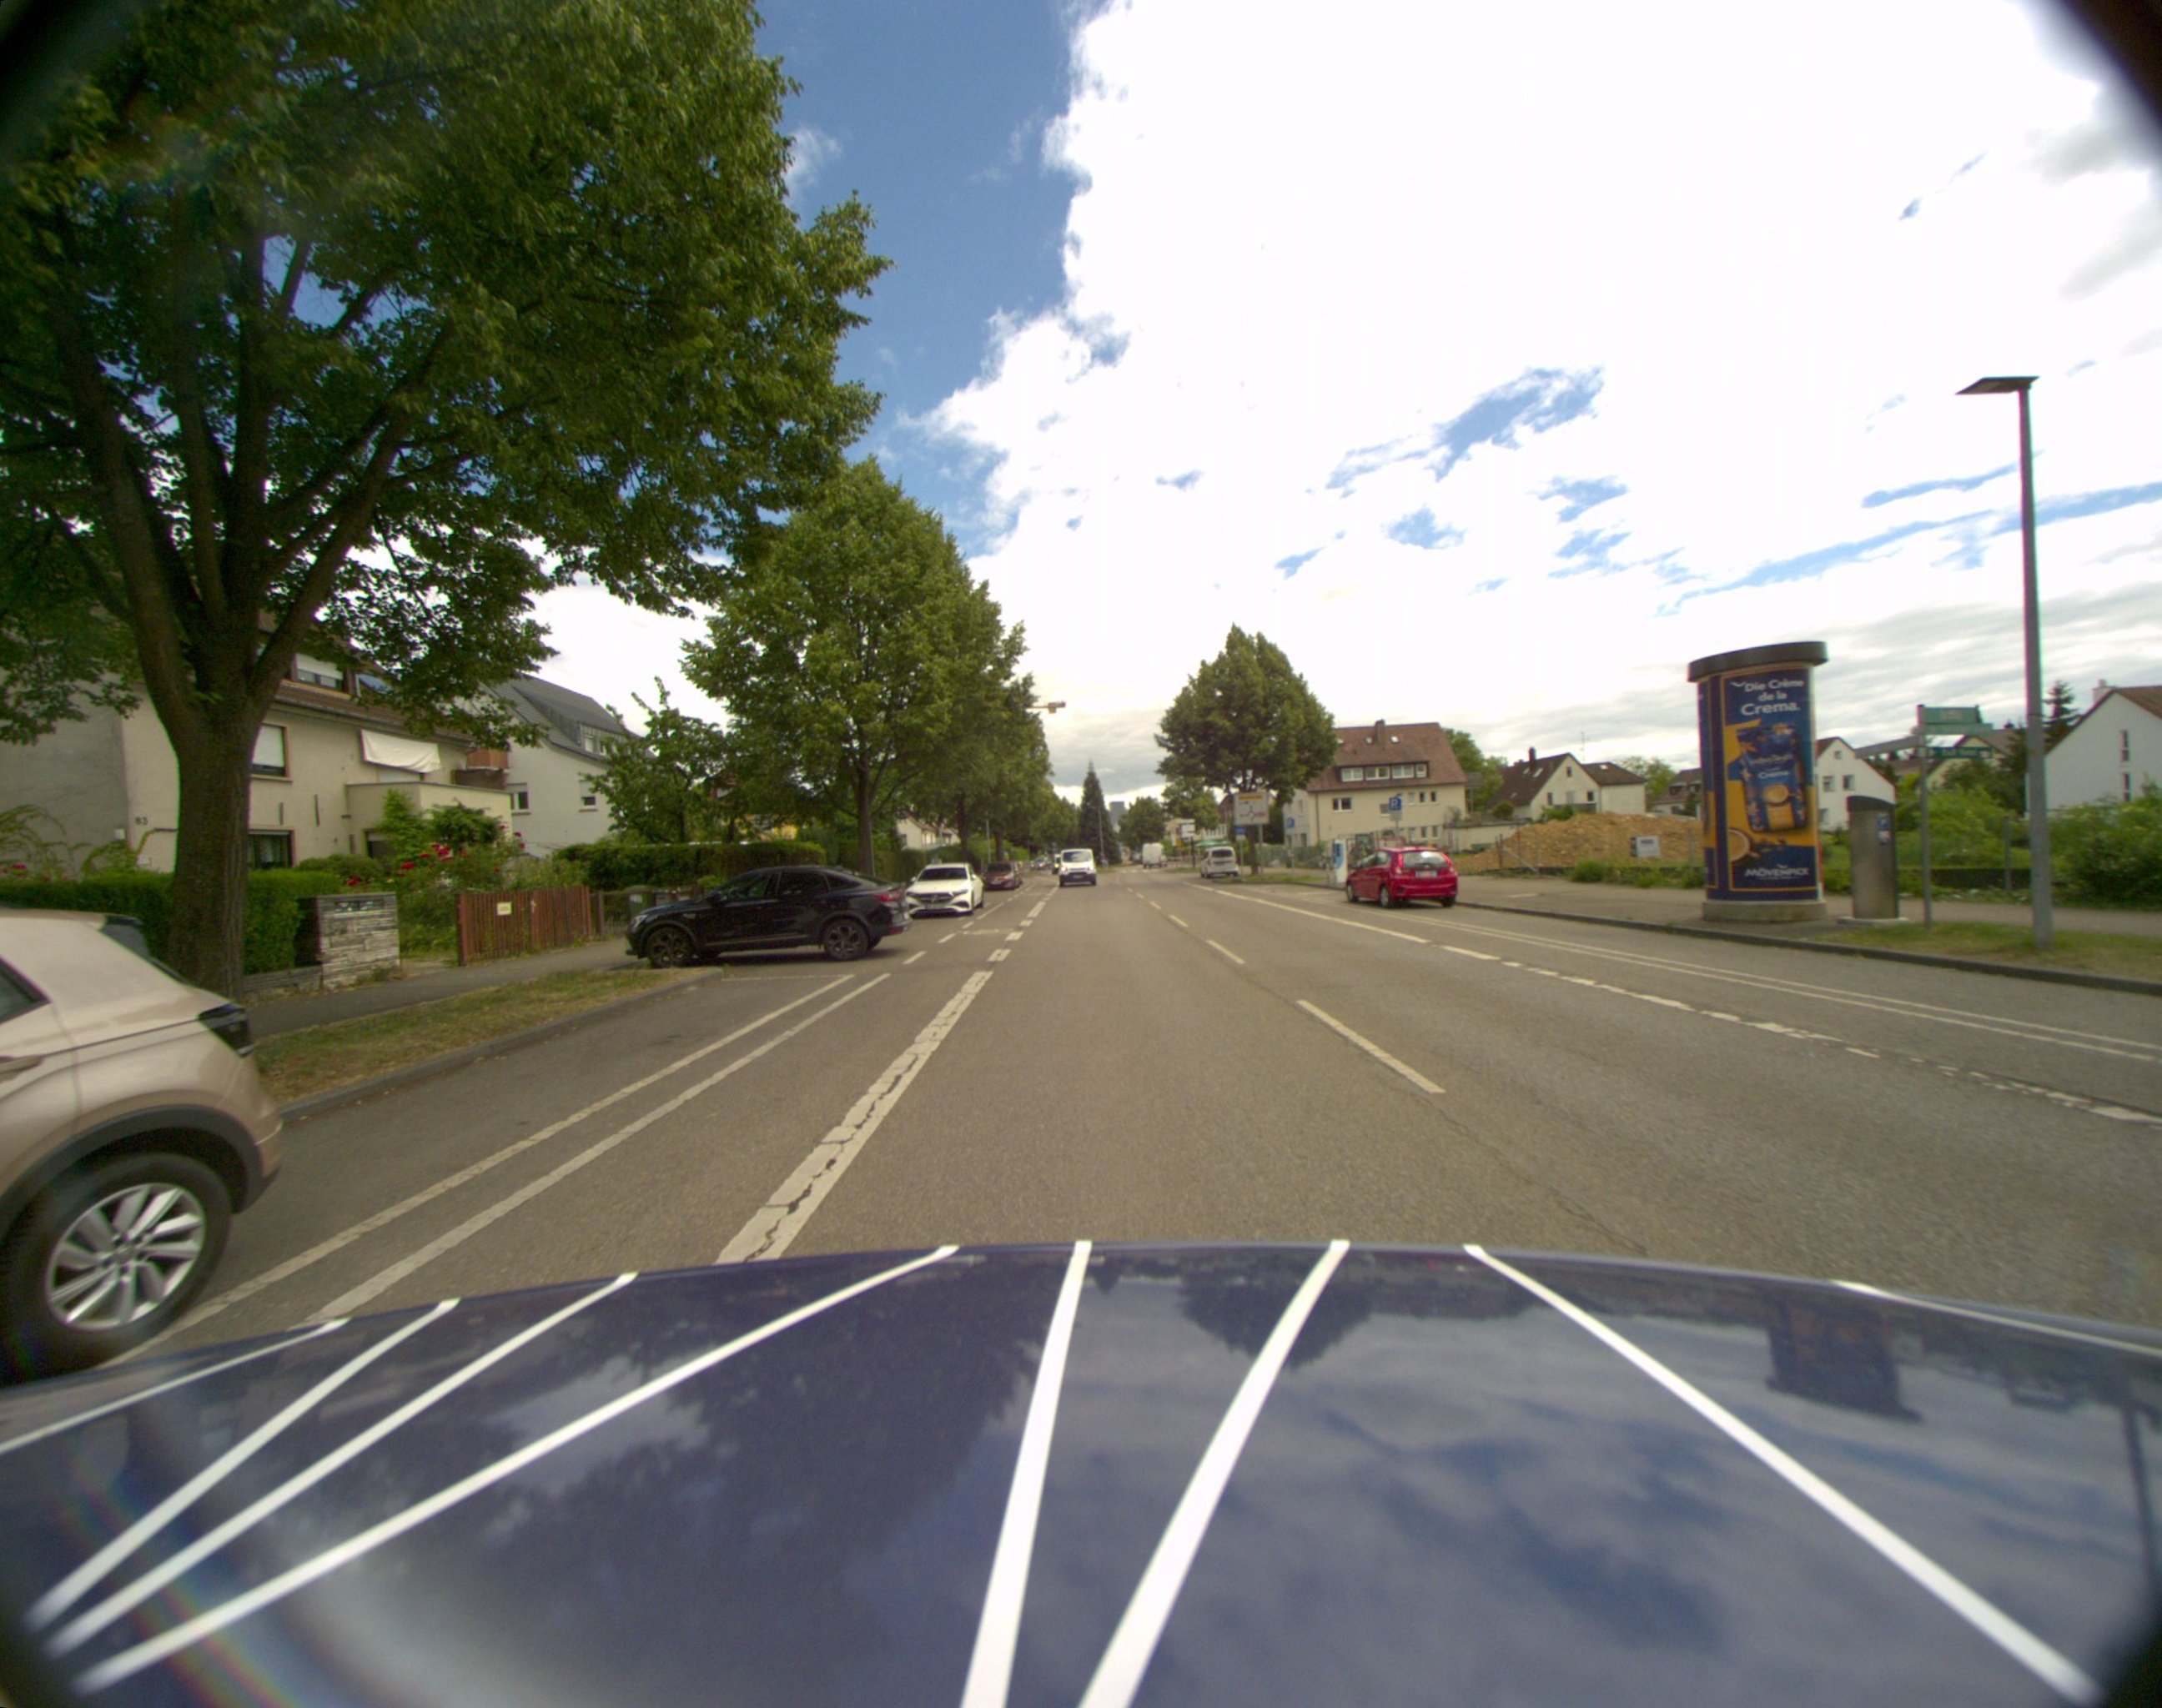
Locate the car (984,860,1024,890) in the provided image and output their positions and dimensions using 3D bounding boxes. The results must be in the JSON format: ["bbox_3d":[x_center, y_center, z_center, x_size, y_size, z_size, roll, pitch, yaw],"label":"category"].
[{"bbox_3d":[-3.938,1.044,39.390,1.657,1.407,4.176,-1,0,-1],"label":"car"}]

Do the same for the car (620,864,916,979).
[{"bbox_3d":[-5.045,1.057,12.743,4.230,1.628,1.692,-2,0,-6],"label":"car"}]

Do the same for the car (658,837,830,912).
[{"bbox_3d":[-13.124,0.786,29.926,5.730,2.576,1.997,-3,0,-5],"label":"car"}]

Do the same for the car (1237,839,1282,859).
[{"bbox_3d":[17.640,-0.535,75.179,3.928,1.653,1.855,-4,2,0],"label":"car"}]

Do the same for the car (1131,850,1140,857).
[{"bbox_3d":[11.533,-0.080,161.286,1.665,1.466,3.746,-3,0,-1],"label":"car"}]

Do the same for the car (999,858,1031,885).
[{"bbox_3d":[-4.023,1.046,46.704,1.569,1.447,3.668,-3,0,0],"label":"car"}]

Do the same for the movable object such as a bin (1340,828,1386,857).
[{"bbox_3d":[22.979,-0.896,62.151,1.901,2.175,4.361,-3,0,-2],"label":"movable object such as a bin"}]

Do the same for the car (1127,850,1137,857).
[{"bbox_3d":[11.324,-0.100,168.788,1.665,1.466,3.746,-3,0,-1],"label":"car"}]

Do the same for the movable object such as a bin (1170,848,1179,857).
[{"bbox_3d":[14.765,-0.196,120.404,0.984,1.408,2.722,-3,0,0],"label":"movable object such as a bin"}]

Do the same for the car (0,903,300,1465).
[{"bbox_3d":[-3.970,1.018,0.994,1.726,1.571,4.060,-3,0,-2],"label":"car"}]

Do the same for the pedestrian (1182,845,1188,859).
[{"bbox_3d":[14.539,-0.272,106.267,0.637,1.816,0.567,-4,0,13],"label":"pedestrian"}]

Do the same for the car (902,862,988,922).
[{"bbox_3d":[-3.947,1.061,22.882,1.810,1.466,4.811,-3,0,-2],"label":"car"}]

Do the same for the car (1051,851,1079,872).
[{"bbox_3d":[-1.523,0.667,69.527,1.928,1.744,3.997,-3,0,-9],"label":"car"}]

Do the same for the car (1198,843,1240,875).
[{"bbox_3d":[8.339,0.288,46.231,1.775,1.760,4.551,-3,0,2],"label":"car"}]

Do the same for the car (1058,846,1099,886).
[{"bbox_3d":[-0.178,0.633,41.981,1.999,2.002,5.049,-3,0,-1],"label":"car"}]

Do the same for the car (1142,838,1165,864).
[{"bbox_3d":[7.885,-0.300,83.257,2.024,2.658,5.806,-3,0,2],"label":"car"}]

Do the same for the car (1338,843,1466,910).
[{"bbox_3d":[8.298,0.535,20.070,1.689,1.532,4.132,-2,0,2],"label":"car"}]
